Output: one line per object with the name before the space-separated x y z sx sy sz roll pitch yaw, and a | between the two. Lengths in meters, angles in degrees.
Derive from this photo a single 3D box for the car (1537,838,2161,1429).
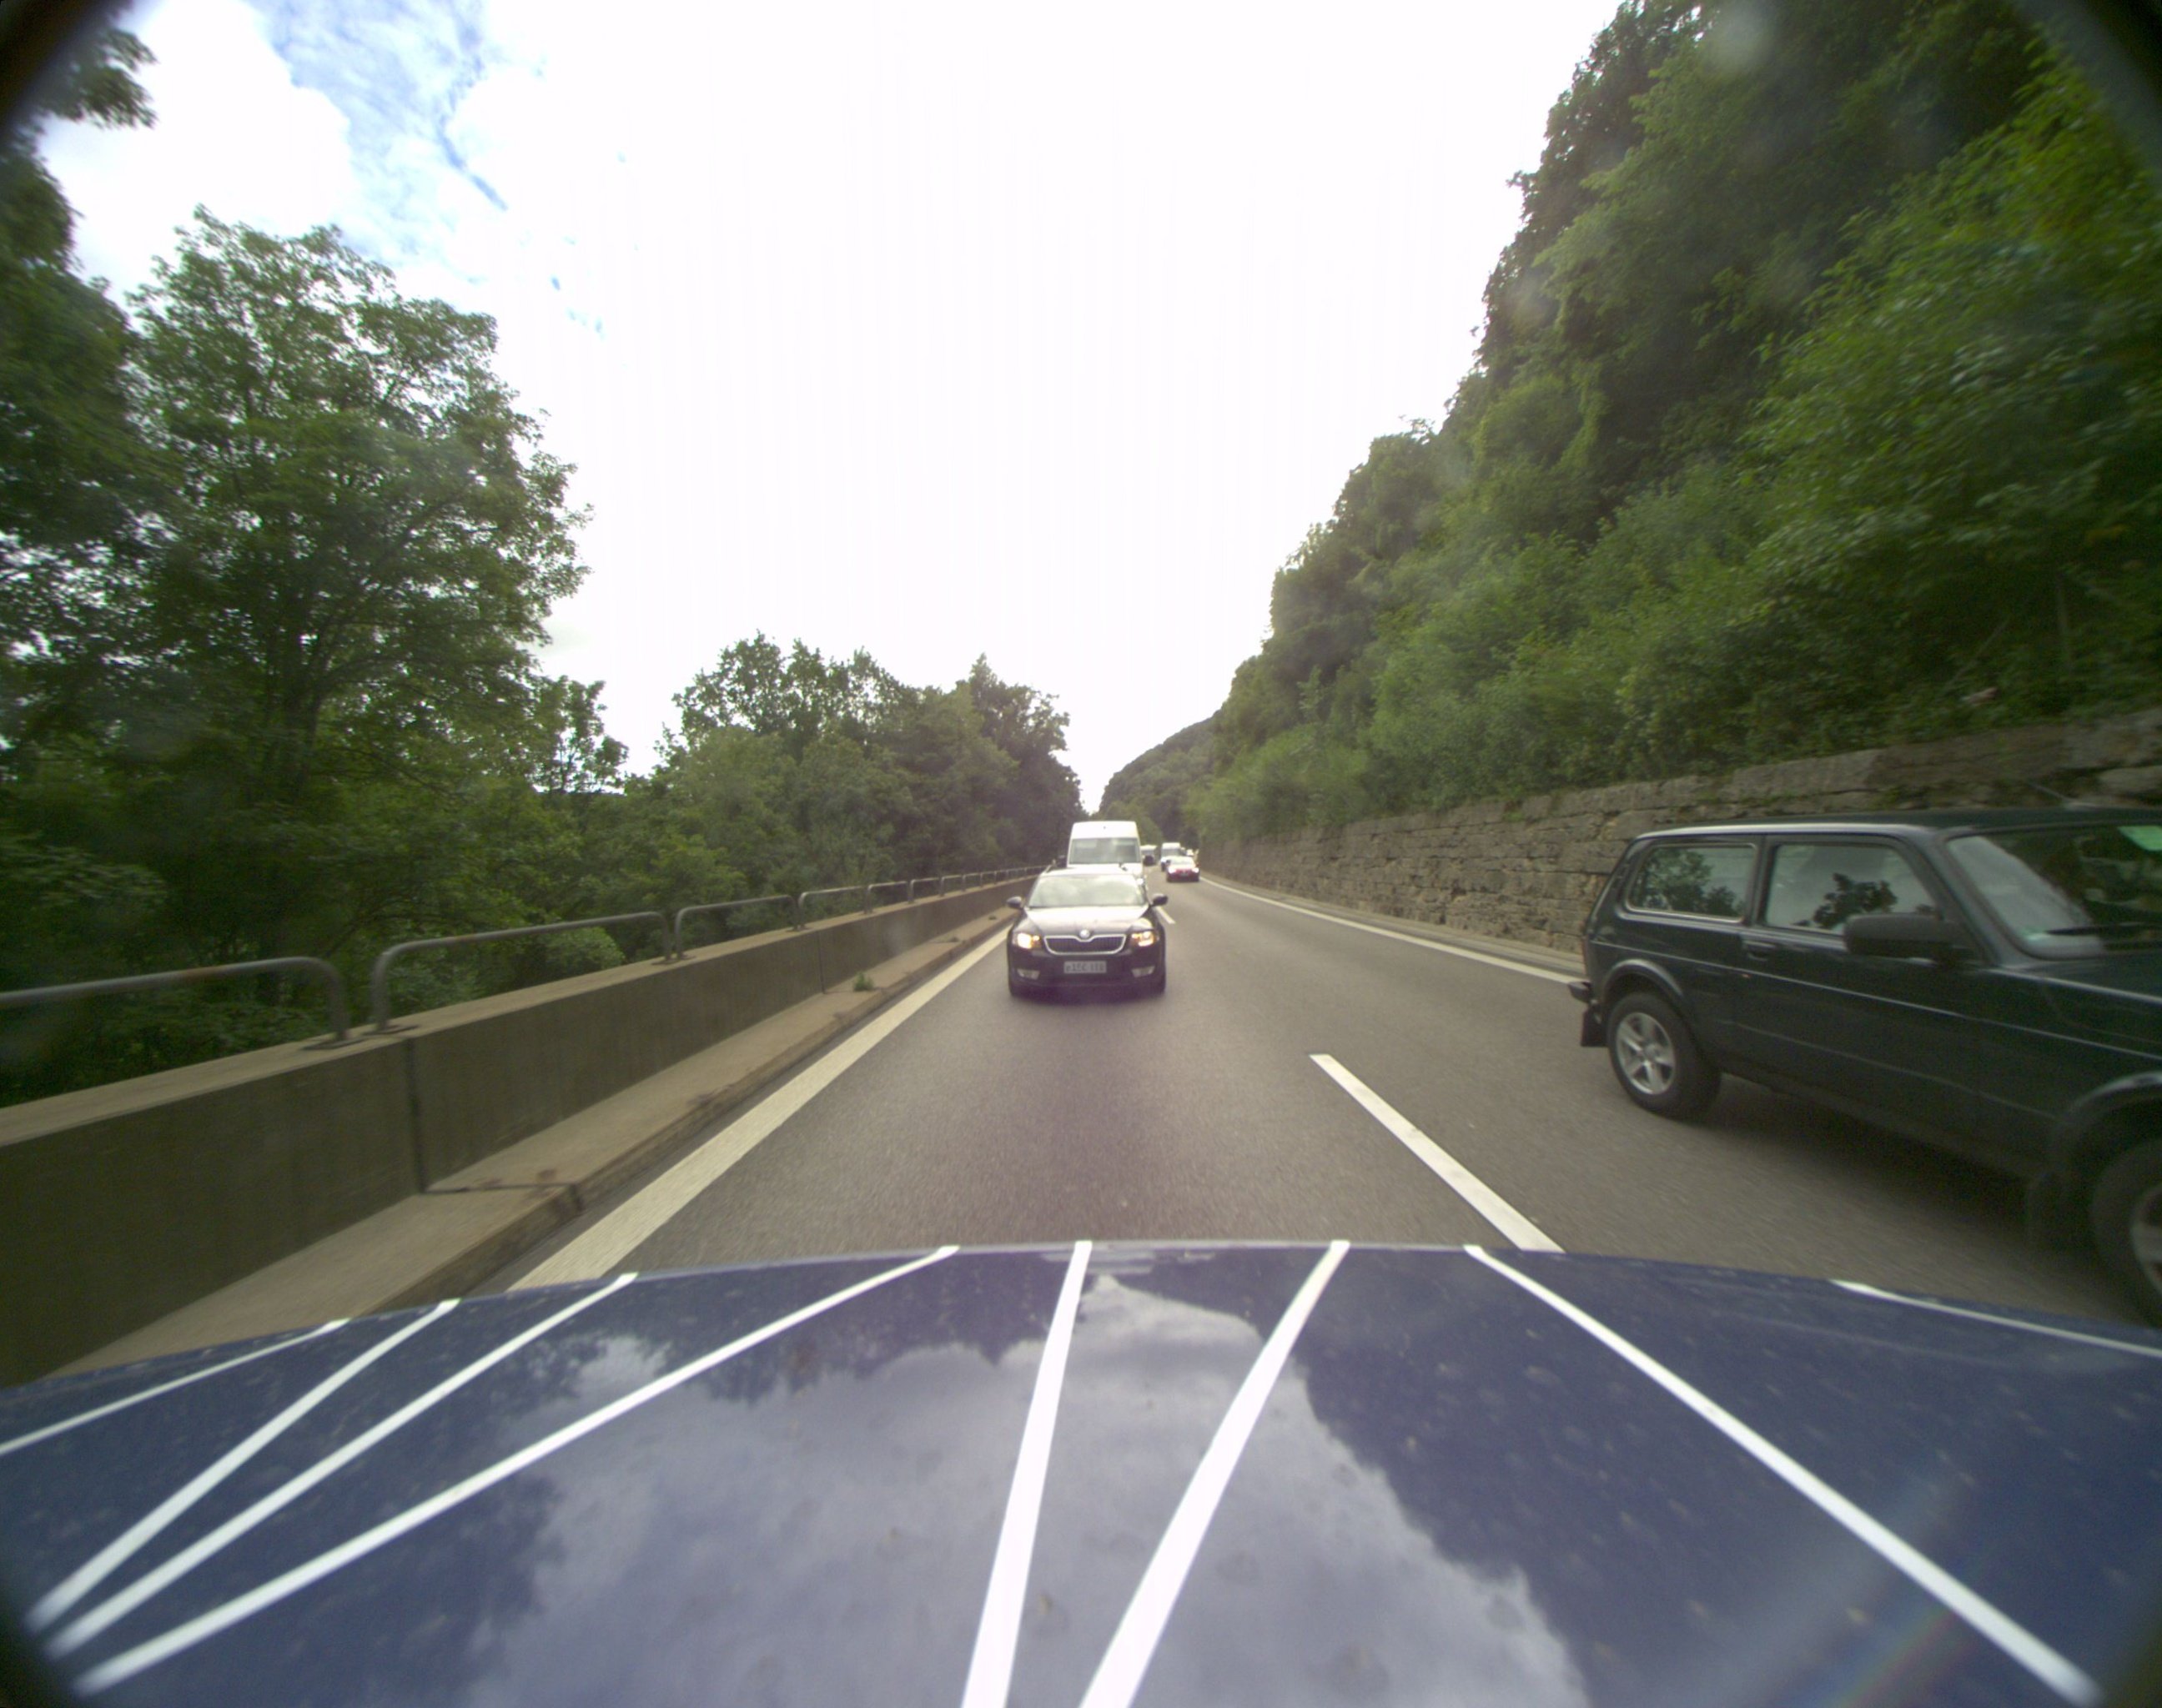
car | 3.848 0.768 2.999 1.673 1.629 4.068 -2 0 1

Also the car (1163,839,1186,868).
car | 8.719 -0.043 71.306 2.030 2.570 6.277 -2 0 6

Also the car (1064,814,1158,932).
car | 0.665 0.411 19.800 1.998 2.550 5.918 -2 0 0

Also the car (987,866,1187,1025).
car | 0.059 0.945 10.300 1.913 1.391 5.696 -2 0 0

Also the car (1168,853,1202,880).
car | 6.021 0.695 44.305 1.770 1.451 4.413 -2 0 6

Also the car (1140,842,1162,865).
car | 9.553 -0.140 102.954 2.275 2.941 7.191 -2 0 10
